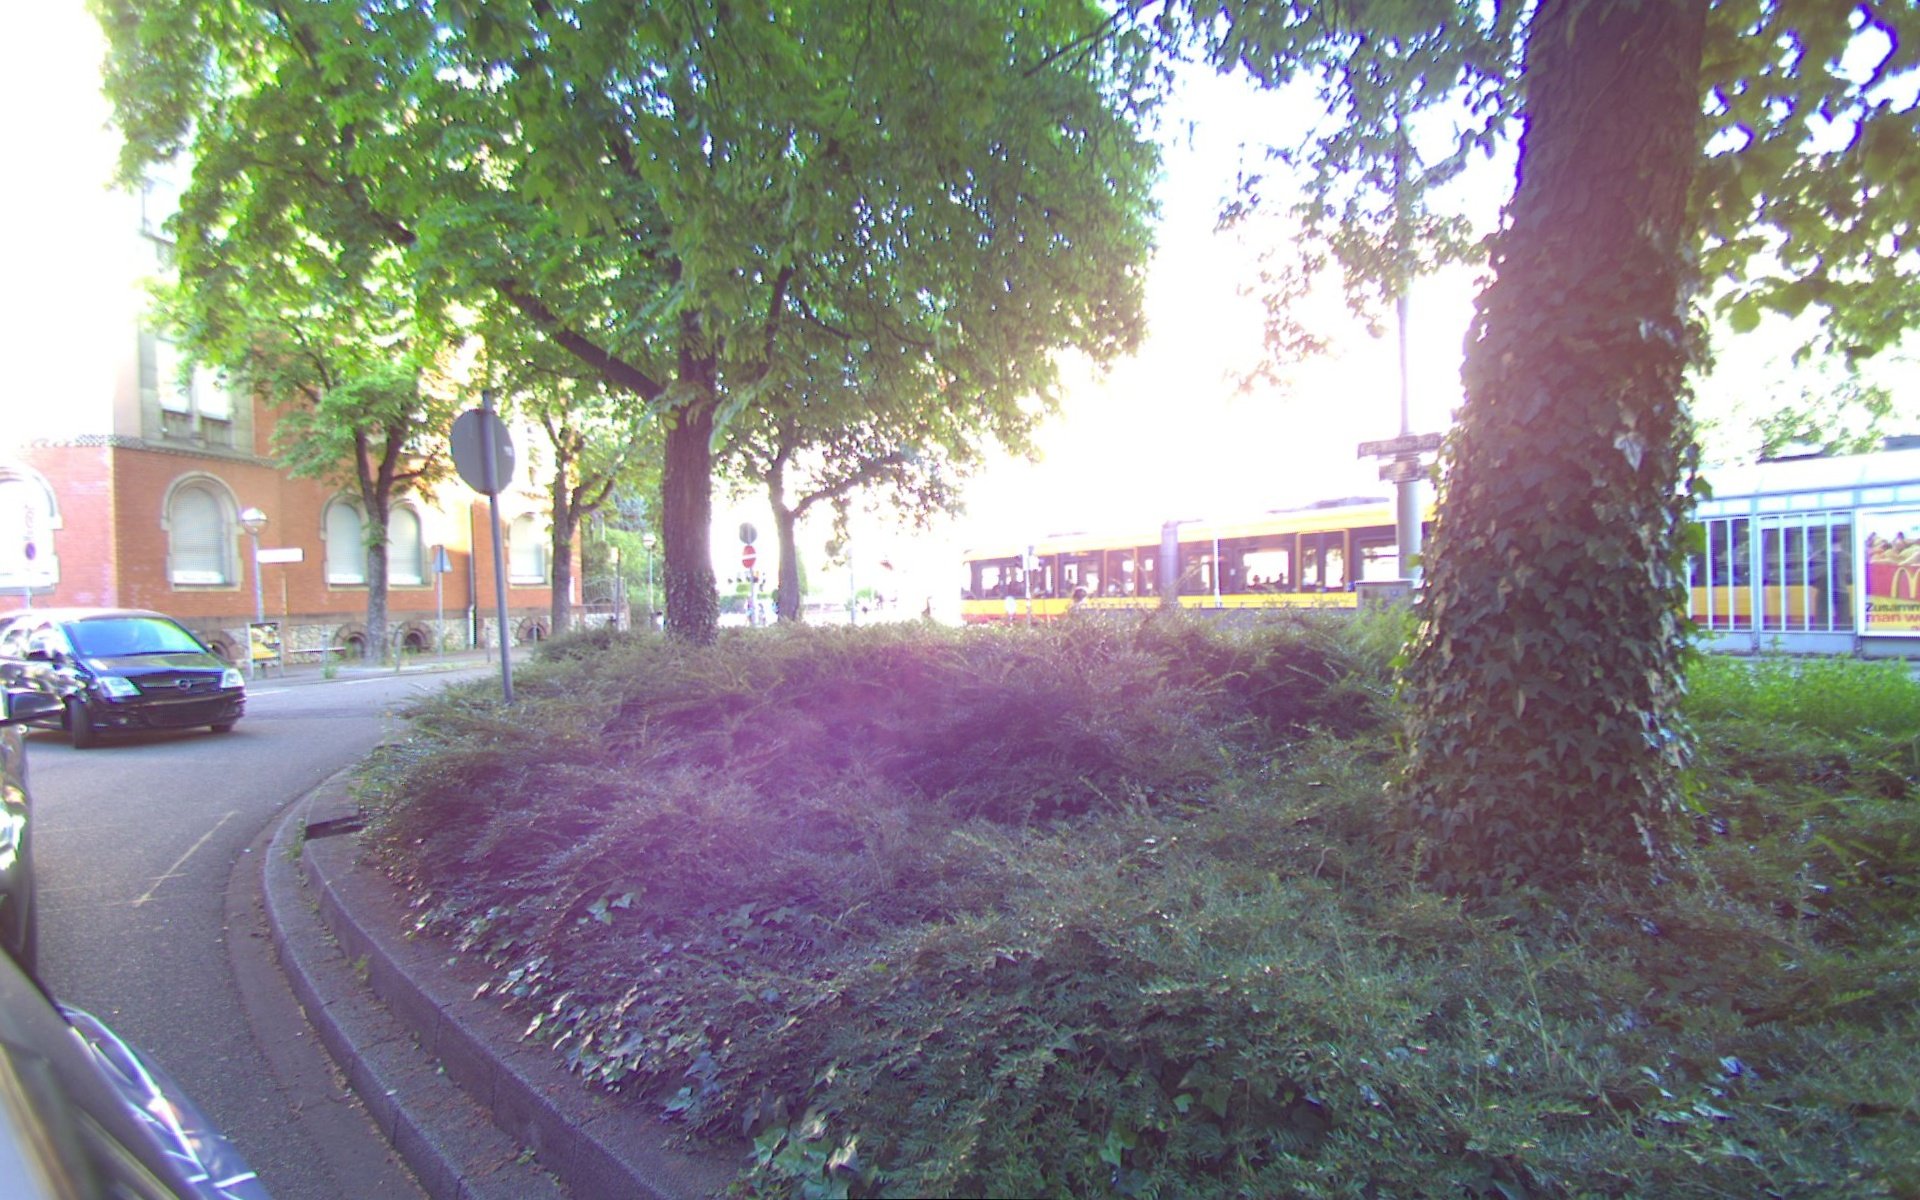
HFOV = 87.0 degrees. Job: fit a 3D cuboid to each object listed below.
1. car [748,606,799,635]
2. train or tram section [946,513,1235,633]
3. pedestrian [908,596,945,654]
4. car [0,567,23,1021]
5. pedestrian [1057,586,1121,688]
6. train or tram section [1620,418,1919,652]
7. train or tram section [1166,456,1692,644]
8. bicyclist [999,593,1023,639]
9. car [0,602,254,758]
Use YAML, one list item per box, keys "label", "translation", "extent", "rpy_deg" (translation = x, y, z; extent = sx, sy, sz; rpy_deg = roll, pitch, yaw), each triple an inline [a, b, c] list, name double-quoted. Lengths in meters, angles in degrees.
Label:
- label: "car"
  translation: [-9.973, 1.055, 53.819]
  extent: [1.707, 1.428, 4.013]
  rpy_deg: [-2, 0, -25]
- label: "train or tram section"
  translation: [4.002, -0.753, 36.160]
  extent: [2.727, 3.584, 12.718]
  rpy_deg: [-2, 0, -32]
- label: "pedestrian"
  translation: [-0.992, 0.750, 30.209]
  extent: [0.720, 1.647, 0.898]
  rpy_deg: [-3, 1, 21]
- label: "car"
  translation: [-5.428, 0.731, 4.528]
  extent: [1.768, 1.590, 4.264]
  rpy_deg: [-1, -1, -43]
- label: "pedestrian"
  translation: [1.925, 0.537, 15.111]
  extent: [0.698, 1.454, 0.602]
  rpy_deg: [-2, 0, -25]
- label: "train or tram section"
  translation: [17.006, -1.084, 15.138]
  extent: [2.753, 3.647, 11.835]
  rpy_deg: [-2, 0, -32]
- label: "train or tram section"
  translation: [10.618, -0.926, 25.457]
  extent: [2.739, 3.614, 12.456]
  rpy_deg: [-2, 0, -32]
- label: "bicyclist"
  translation: [1.794, 0.570, 35.835]
  extent: [0.588, 1.585, 0.557]
  rpy_deg: [-2, 0, -30]
- label: "car"
  translation: [-10.654, 0.915, 12.600]
  extent: [3.673, 1.640, 1.663]
  rpy_deg: [-2, 0, 31]
